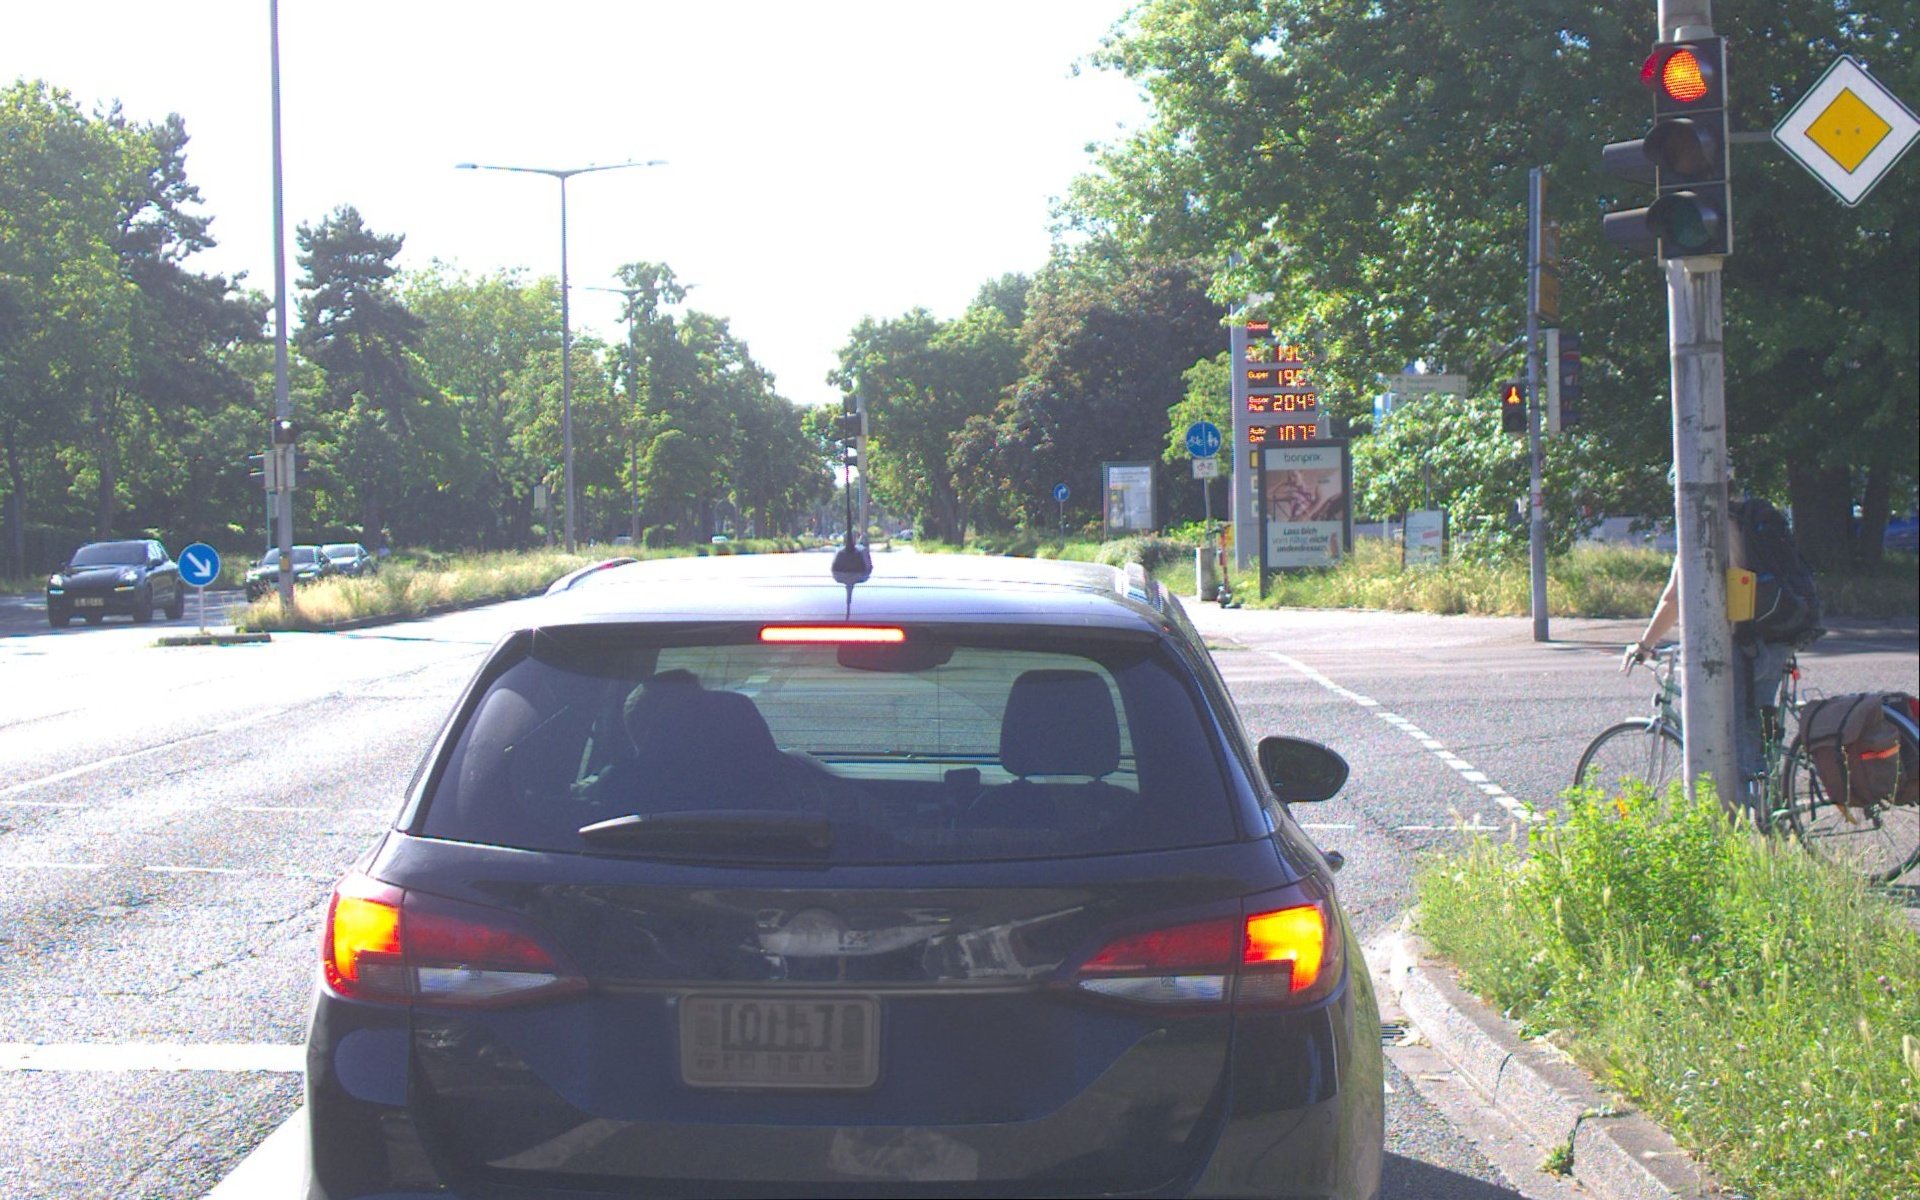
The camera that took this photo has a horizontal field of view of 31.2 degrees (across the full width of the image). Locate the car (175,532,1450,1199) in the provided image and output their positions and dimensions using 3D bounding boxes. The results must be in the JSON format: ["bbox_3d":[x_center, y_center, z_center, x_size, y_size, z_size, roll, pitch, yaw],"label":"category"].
[{"bbox_3d":[-0.228,0.629,6.851,1.756,1.490,4.207,0,1,-1],"label":"car"}]

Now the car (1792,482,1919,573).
[{"bbox_3d":[16.624,-1.286,59.805,3.887,1.512,1.746,-2,1,-23],"label":"car"}]

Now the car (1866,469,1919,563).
[{"bbox_3d":[17.100,-1.427,56.719,3.887,1.512,1.746,-2,1,-23],"label":"car"}]

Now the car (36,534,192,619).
[{"bbox_3d":[-16.928,-0.496,68.993,1.993,1.596,4.616,-1,1,-1],"label":"car"}]

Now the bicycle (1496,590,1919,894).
[{"bbox_3d":[2.984,0.545,13.337,0.536,1.094,1.775,-3,0,-44],"label":"bicycle"}]

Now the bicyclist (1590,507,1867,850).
[{"bbox_3d":[2.976,0.304,13.335,0.536,1.272,0.829,-3,0,-44],"label":"bicyclist"}]

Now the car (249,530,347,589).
[{"bbox_3d":[-17.290,-1.086,89.945,1.776,1.458,4.165,-1,1,-1],"label":"car"}]
